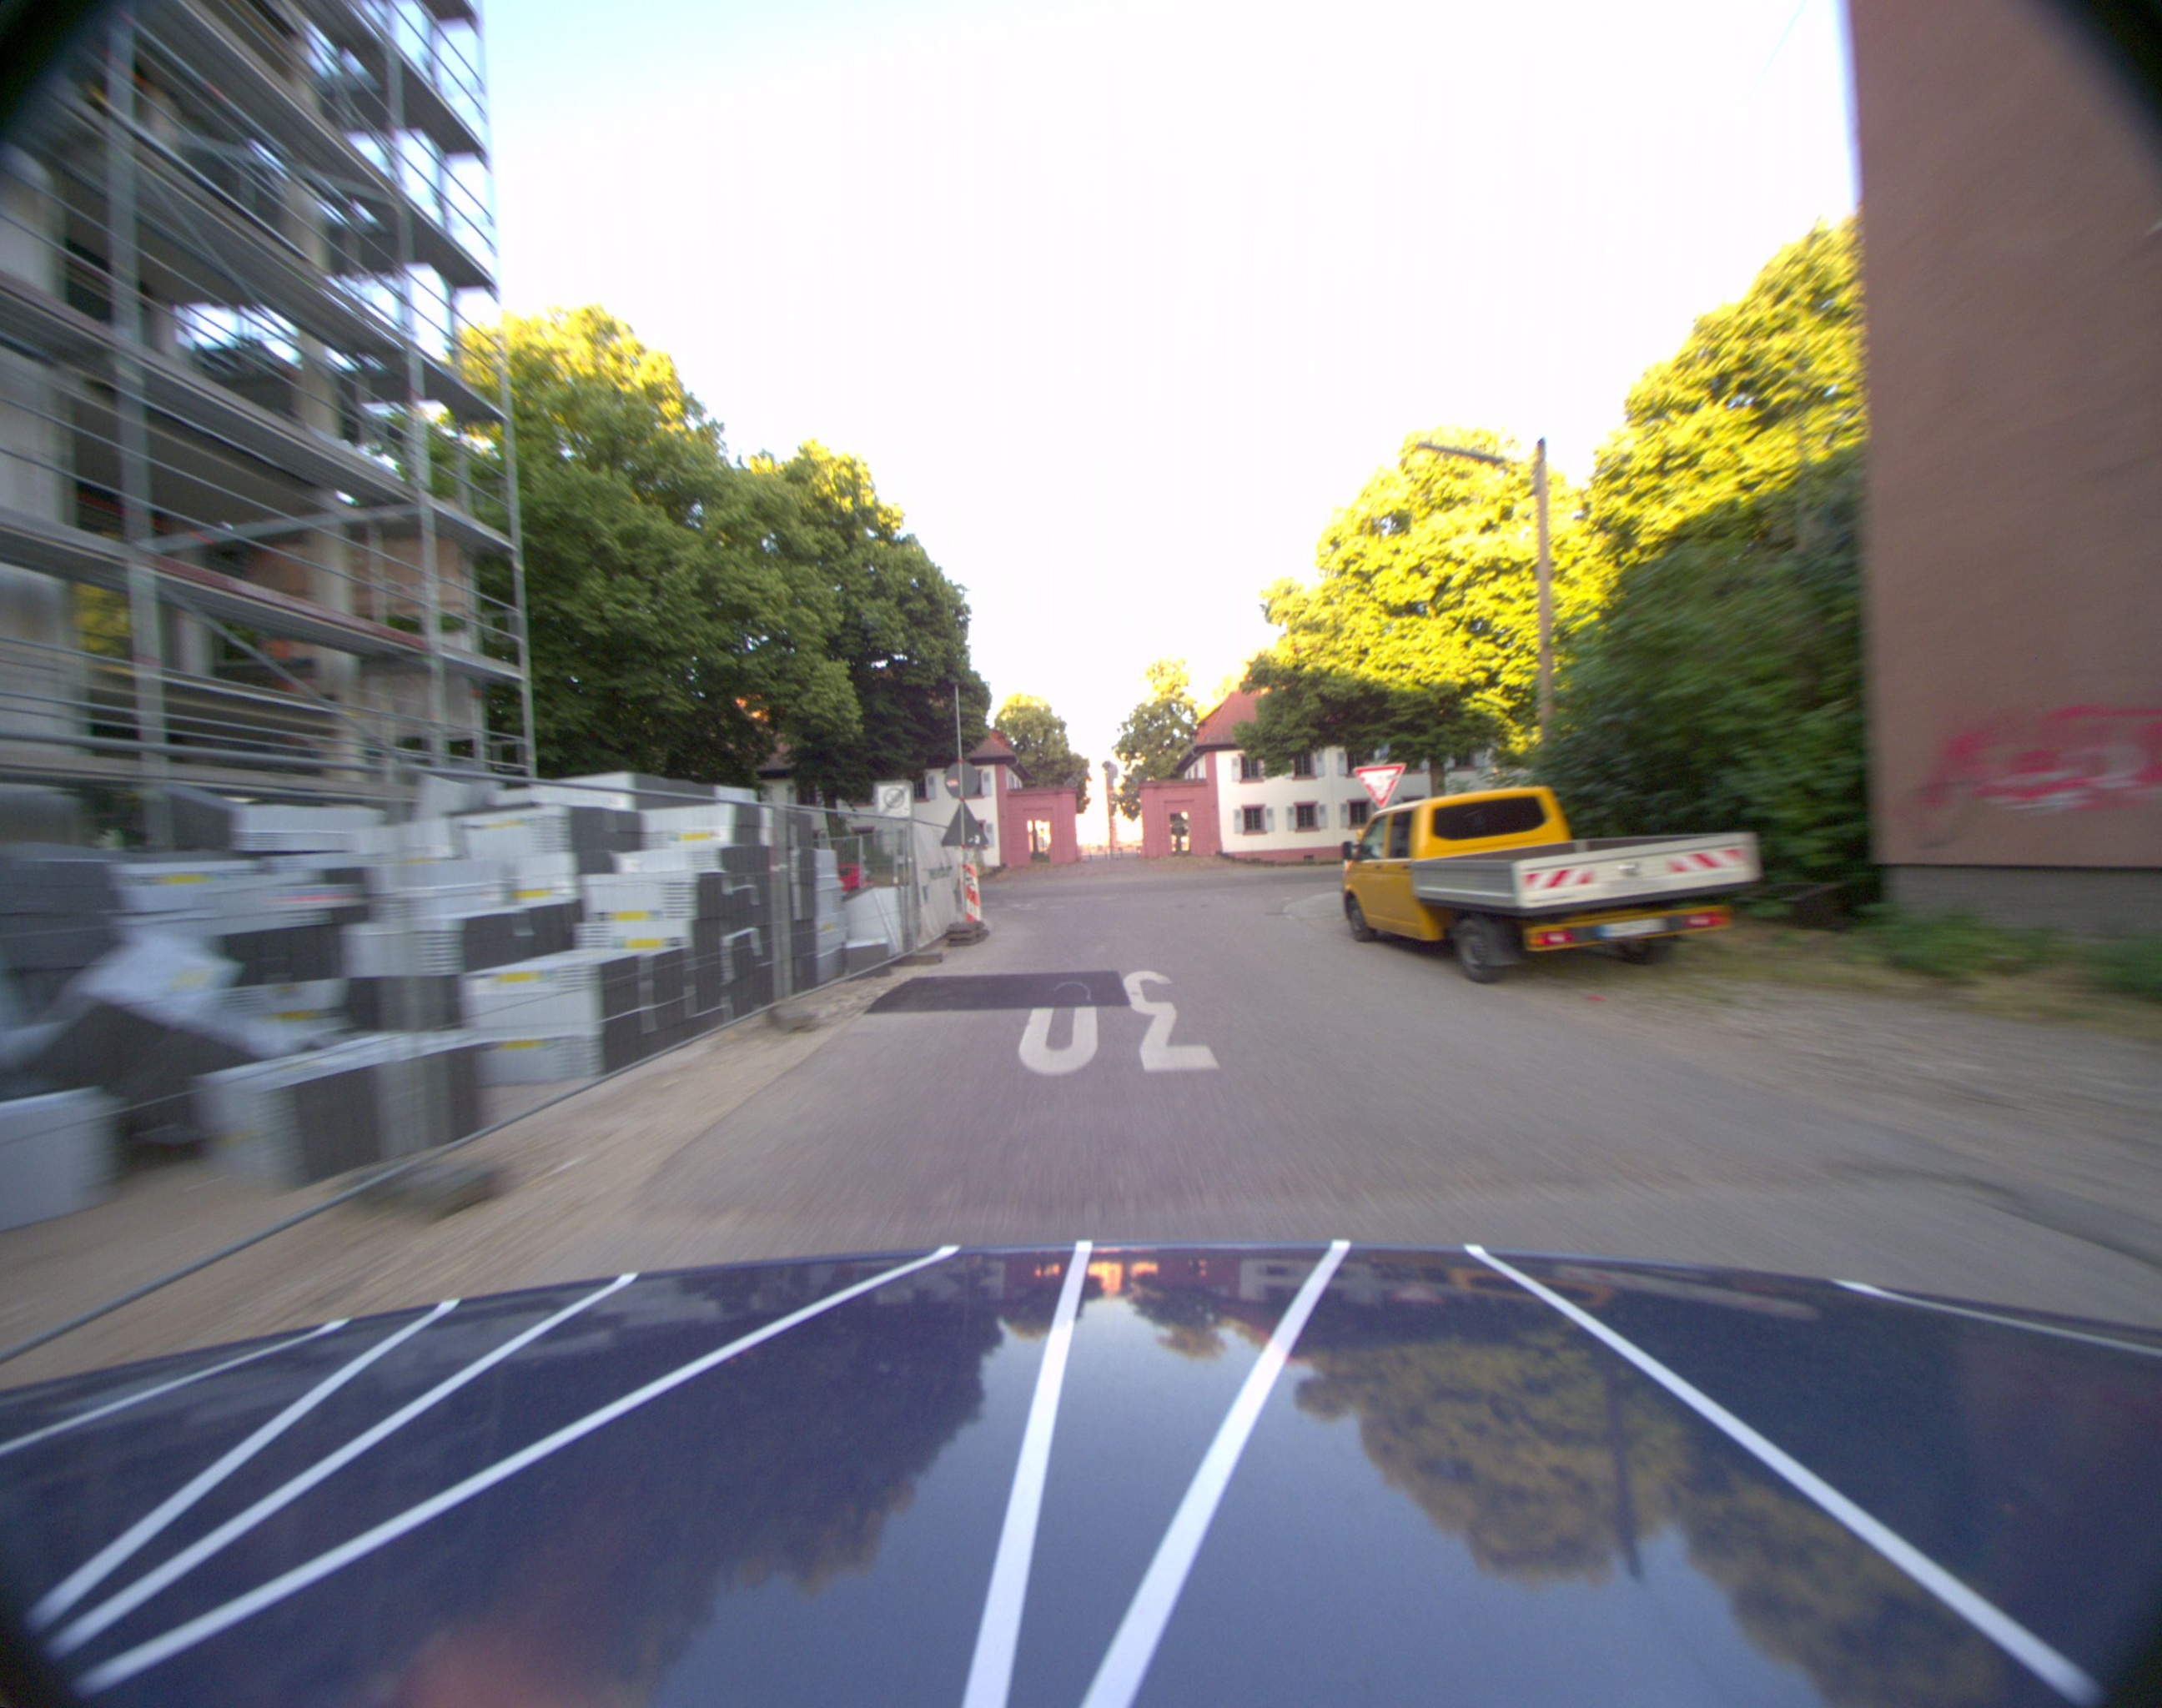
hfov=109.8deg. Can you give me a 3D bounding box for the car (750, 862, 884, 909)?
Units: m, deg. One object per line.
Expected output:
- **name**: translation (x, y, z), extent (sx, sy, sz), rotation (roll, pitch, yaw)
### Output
- **car**: translation (-9.909, 1.163, 28.732), extent (4.407, 1.404, 1.619), rotation (-4, 1, -1)

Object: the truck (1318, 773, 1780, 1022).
- **truck**: translation (4.720, 0.280, 9.050), extent (2.039, 1.902, 5.660), rotation (-4, 2, 1)
